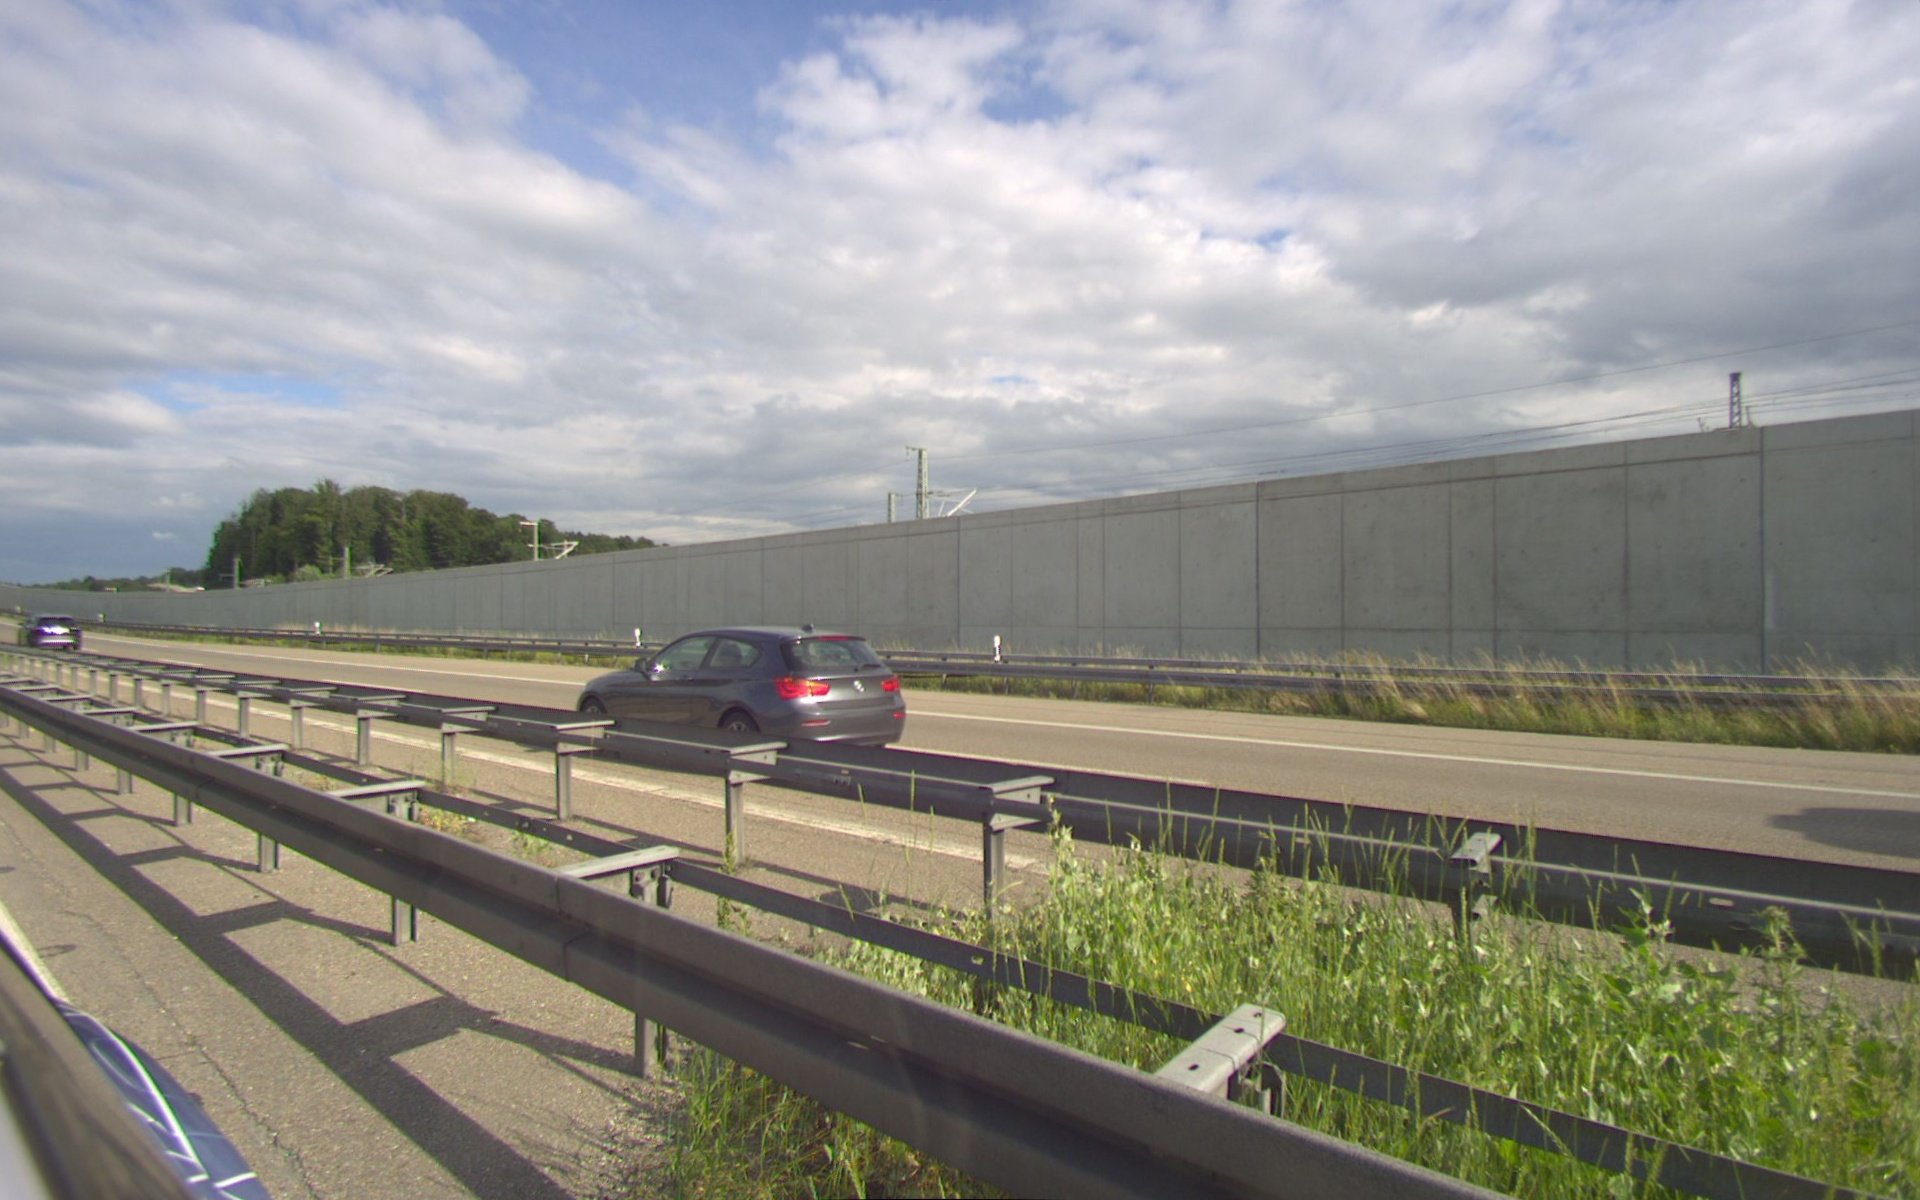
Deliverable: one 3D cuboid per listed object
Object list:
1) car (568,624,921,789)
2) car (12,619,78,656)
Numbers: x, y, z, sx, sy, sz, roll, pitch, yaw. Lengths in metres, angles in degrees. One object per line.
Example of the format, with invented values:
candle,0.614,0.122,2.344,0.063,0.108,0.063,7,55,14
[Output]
car,-2.383,0.966,10.653,3.894,1.411,1.616,-1,-1,41
car,-41.220,1.665,45.566,4.447,1.607,1.698,-1,-1,41
